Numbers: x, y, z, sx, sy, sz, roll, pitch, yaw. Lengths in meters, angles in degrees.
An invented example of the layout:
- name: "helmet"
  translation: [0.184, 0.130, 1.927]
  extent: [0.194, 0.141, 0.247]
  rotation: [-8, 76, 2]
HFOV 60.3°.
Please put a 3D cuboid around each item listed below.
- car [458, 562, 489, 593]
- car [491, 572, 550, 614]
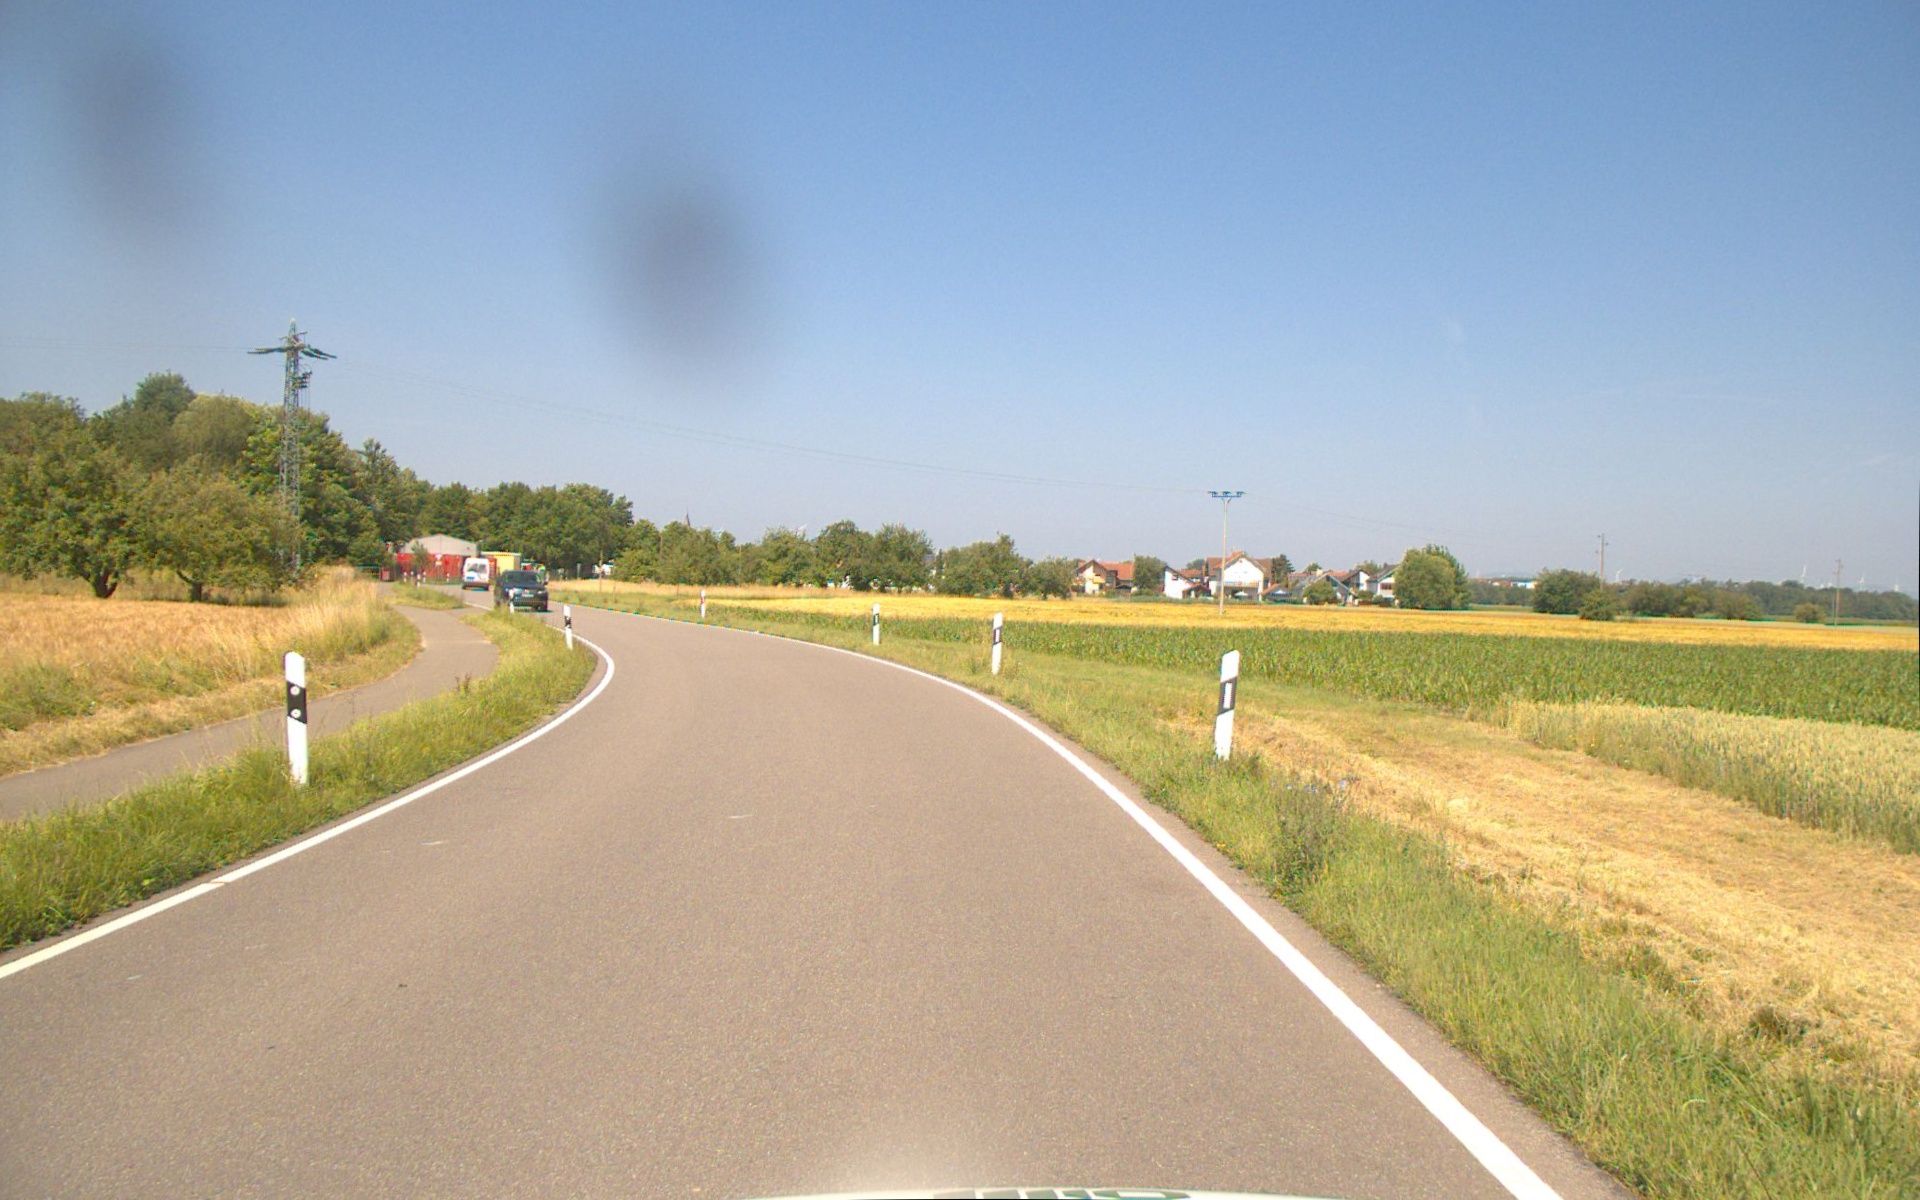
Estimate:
- name: "car"
  translation: [-38.823, -1.806, 131.918]
  extent: [1.965, 2.305, 4.697]
  rotation: [2, 0, -21]
- name: "car"
  translation: [-19.025, -0.311, 71.439]
  extent: [1.862, 1.744, 3.984]
  rotation: [0, 1, -24]
